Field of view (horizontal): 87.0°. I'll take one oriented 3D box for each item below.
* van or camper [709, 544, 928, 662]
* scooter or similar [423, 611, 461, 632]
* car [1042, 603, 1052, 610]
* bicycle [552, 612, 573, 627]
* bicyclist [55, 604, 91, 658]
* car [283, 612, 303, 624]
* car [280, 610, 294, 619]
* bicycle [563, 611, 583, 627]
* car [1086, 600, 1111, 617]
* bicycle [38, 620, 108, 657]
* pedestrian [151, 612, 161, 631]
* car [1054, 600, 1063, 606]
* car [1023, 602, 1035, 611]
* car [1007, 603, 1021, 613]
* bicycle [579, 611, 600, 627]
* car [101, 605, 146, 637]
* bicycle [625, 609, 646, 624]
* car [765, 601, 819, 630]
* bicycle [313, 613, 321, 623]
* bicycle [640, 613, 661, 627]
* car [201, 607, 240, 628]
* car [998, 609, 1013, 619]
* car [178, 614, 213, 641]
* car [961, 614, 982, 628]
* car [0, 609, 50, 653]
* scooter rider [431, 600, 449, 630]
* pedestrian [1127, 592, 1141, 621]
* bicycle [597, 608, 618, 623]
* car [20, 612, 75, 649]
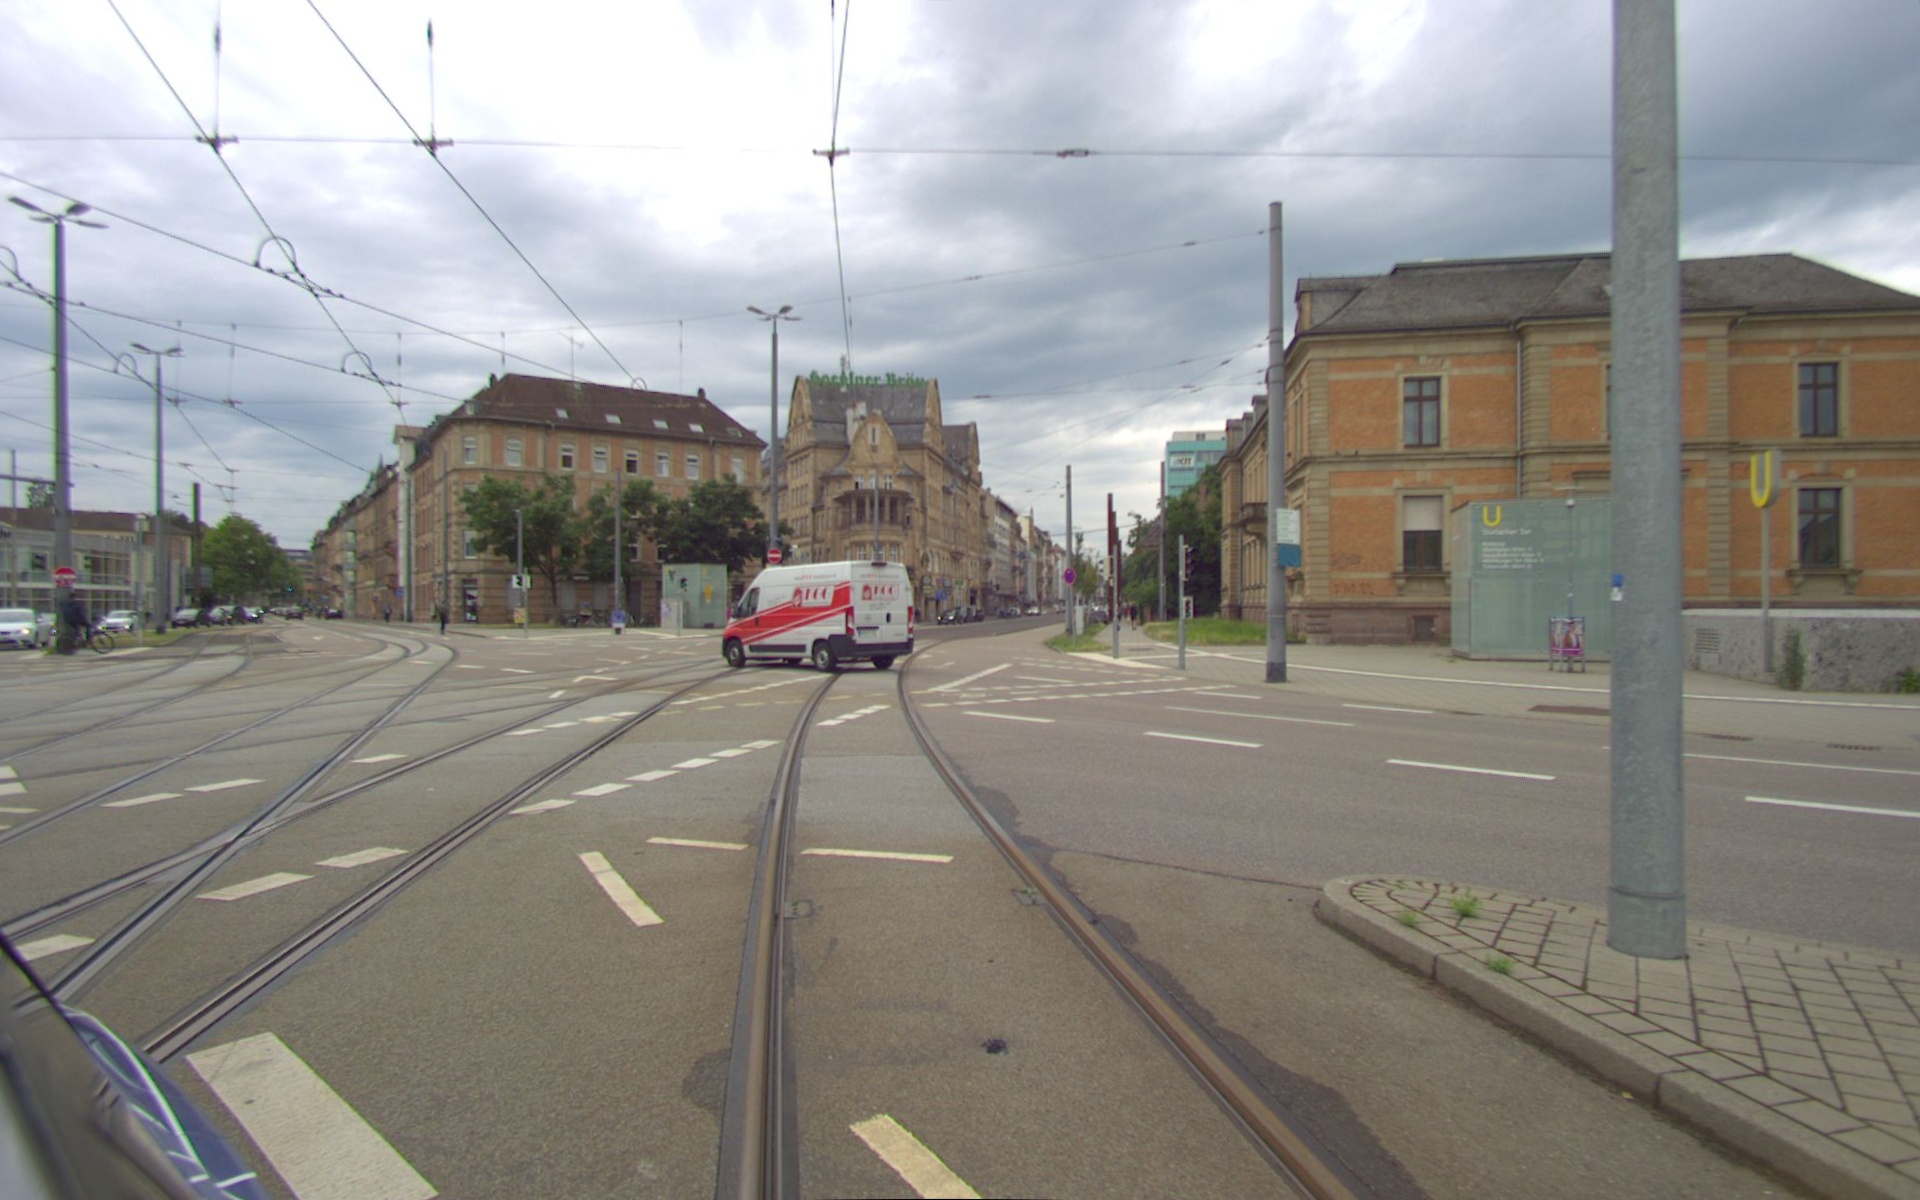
[{"bbox_3d":[-3.534,0.098,24.496,5.573,2.547,2.254,-1,-1,43],"label":"van or camper"},{"bbox_3d":[-29.187,1.201,57.033,1.874,1.174,0.576,0,0,-17],"label":"scooter or similar"},{"bbox_3d":[17.926,1.341,209.351,1.812,1.477,3.991,-1,0,9],"label":"car"},{"bbox_3d":[-27.445,1.337,69.817,0.823,1.038,2.403,0,0,-35],"label":"bicycle"},{"bbox_3d":[-27.452,0.940,31.324,0.513,1.651,0.652,0,0,16],"label":"bicyclist"},{"bbox_3d":[-82.601,2.219,125.308,1.859,1.481,4.474,0,0,-37],"label":"car"},{"bbox_3d":[-112.402,2.429,169.010,1.786,1.442,4.027,0,0,-37],"label":"car"},{"bbox_3d":[-26.857,1.295,70.151,0.742,1.038,2.403,0,0,-35],"label":"bicycle"},{"bbox_3d":[12.675,0.769,92.603,1.980,1.442,3.984,0,0,13],"label":"car"},{"bbox_3d":[-27.444,1.171,31.345,0.523,1.078,1.606,0,0,16],"label":"bicycle"},{"bbox_3d":[-71.823,1.924,90.358,0.652,1.693,0.652,0,-1,-36],"label":"pedestrian"},{"bbox_3d":[23.976,0.783,246.382,1.812,1.477,3.991,-1,0,9],"label":"car"},{"bbox_3d":[12.588,1.185,184.022,1.812,1.477,3.991,-1,0,9],"label":"car"},{"bbox_3d":[8.162,1.194,152.118,1.812,1.477,3.991,-1,0,9],"label":"car"},{"bbox_3d":[-25.904,1.329,70.701,0.742,1.038,2.403,-3,1,-35],"label":"bicycle"},{"bbox_3d":[-56.147,1.392,67.976,1.967,2.029,4.011,0,0,-34],"label":"car"},{"bbox_3d":[-23.199,1.146,72.241,0.742,1.038,2.403,0,0,-35],"label":"bicycle"},{"bbox_3d":[-9.982,0.910,60.435,1.977,1.623,4.234,-1,0,9],"label":"car"},{"bbox_3d":[-85.132,2.337,133.980,0.786,1.302,2.417,0,-1,-35],"label":"bicycle"},{"bbox_3d":[-22.298,1.427,72.962,0.742,1.038,2.403,1,-1,-35],"label":"bicycle"},{"bbox_3d":[-63.876,1.457,87.458,2.334,1.768,5.144,0,0,-32],"label":"car"},{"bbox_3d":[6.520,1.999,145.646,1.812,1.477,3.991,-1,0,9],"label":"car"},{"bbox_3d":[-60.526,2.143,80.170,1.967,2.029,4.011,0,0,-34],"label":"car"},{"bbox_3d":[1.340,2.367,116.191,1.812,1.477,3.991,-1,0,9],"label":"car"},{"bbox_3d":[-33.854,1.066,36.060,1.943,1.467,4.200,0,0,-40],"label":"car"},{"bbox_3d":[-29.284,0.847,56.989,0.808,1.640,0.571,0,0,-17],"label":"scooter rider"},{"bbox_3d":[11.321,0.417,65.936,0.802,1.846,0.846,0,0,14],"label":"pedestrian"},{"bbox_3d":[-24.853,1.121,71.281,0.742,1.038,2.403,0,-1,-35],"label":"bicycle"},{"bbox_3d":[-51.609,1.687,57.326,1.967,2.029,4.009,0,0,-37],"label":"car"}]
